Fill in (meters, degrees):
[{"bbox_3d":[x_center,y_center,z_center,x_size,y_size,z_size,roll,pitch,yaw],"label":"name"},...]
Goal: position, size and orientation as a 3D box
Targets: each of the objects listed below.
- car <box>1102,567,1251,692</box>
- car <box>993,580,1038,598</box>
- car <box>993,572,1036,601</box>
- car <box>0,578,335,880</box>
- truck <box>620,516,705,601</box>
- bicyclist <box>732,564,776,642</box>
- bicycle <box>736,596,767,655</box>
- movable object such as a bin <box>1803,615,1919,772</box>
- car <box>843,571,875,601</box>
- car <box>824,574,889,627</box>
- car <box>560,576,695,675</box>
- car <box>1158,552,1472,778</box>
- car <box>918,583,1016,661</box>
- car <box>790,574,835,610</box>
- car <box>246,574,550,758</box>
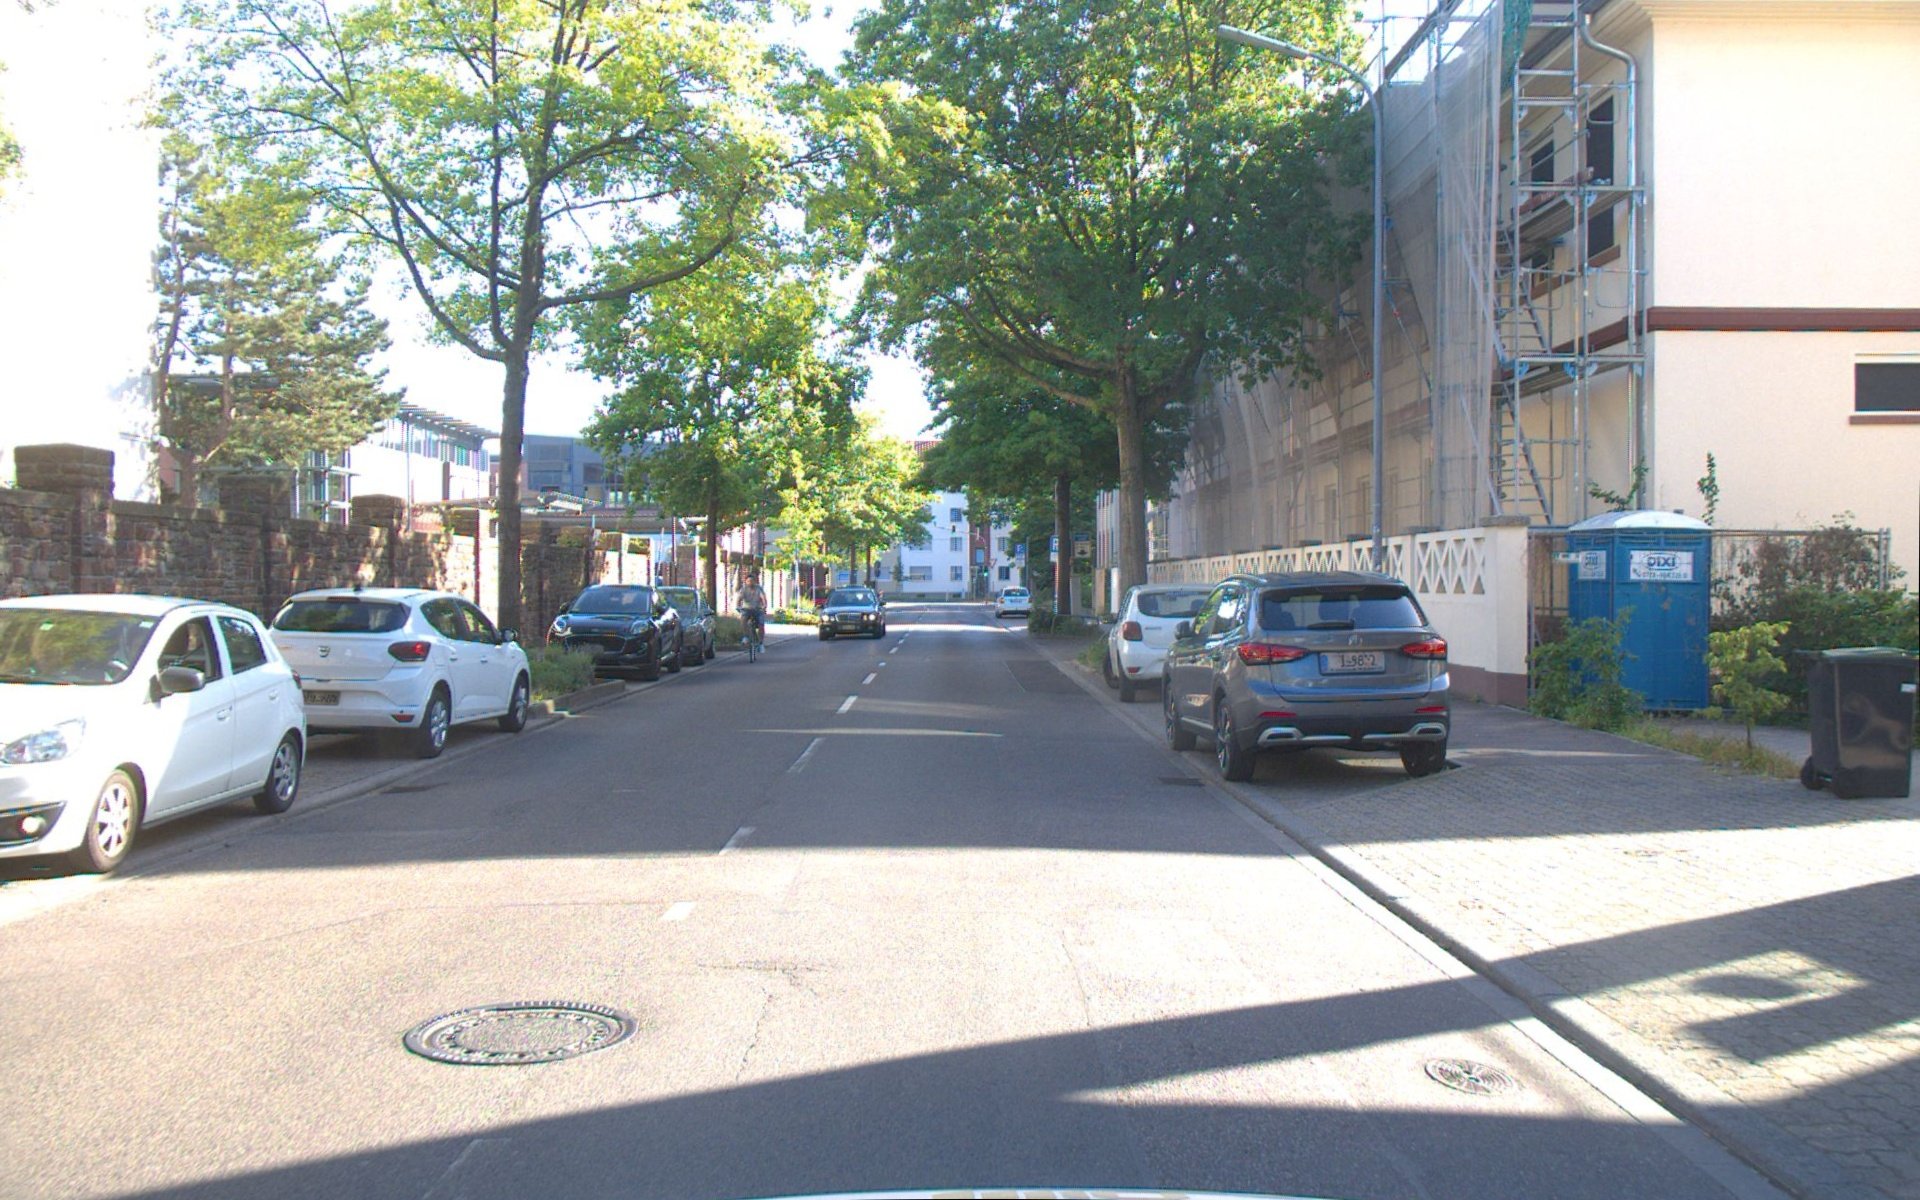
[{"bbox_3d":[2.951,0.340,23.196,1.688,1.536,3.993,-2,1,3],"label":"car"},{"bbox_3d":[4.668,-0.943,138.905,3.342,1.468,1.643,1,1,24],"label":"car"},{"bbox_3d":[2.592,-0.670,79.571,1.795,1.346,4.495,-1,1,-1],"label":"car"},{"bbox_3d":[-5.329,0.627,10.199,1.542,1.426,3.750,3,1,-1],"label":"car"},{"bbox_3d":[-13.861,-1.905,77.613,2.677,3.776,7.427,1,1,-1],"label":"truck"},{"bbox_3d":[-4.182,0.061,33.692,0.706,1.549,1.005,1,1,2],"label":"bicyclist"},{"bbox_3d":[-4.250,0.496,33.728,0.350,1.140,1.866,1,1,1],"label":"bicycle"},{"bbox_3d":[6.337,0.643,11.567,0.585,1.045,0.564,1,1,3],"label":"movable object such as a bin"},{"bbox_3d":[-5.946,-0.869,97.721,1.685,1.713,4.349,-1,1,-2],"label":"car"},{"bbox_3d":[-2.991,-0.017,48.343,1.785,1.461,3.968,0,1,-2],"label":"car"},{"bbox_3d":[-5.547,0.370,28.011,1.542,1.541,4.044,0,1,-1],"label":"car"},{"bbox_3d":[2.916,0.444,14.508,1.678,1.667,4.301,-1,1,-2],"label":"car"},{"bbox_3d":[0.089,0.400,33.779,1.654,1.446,3.835,1,1,-5],"label":"car"},{"bbox_3d":[-6.390,-0.349,71.914,1.576,1.484,3.708,1,1,0],"label":"car"},{"bbox_3d":[-5.416,0.547,16.454,1.642,1.537,3.849,3,1,0],"label":"car"}]
